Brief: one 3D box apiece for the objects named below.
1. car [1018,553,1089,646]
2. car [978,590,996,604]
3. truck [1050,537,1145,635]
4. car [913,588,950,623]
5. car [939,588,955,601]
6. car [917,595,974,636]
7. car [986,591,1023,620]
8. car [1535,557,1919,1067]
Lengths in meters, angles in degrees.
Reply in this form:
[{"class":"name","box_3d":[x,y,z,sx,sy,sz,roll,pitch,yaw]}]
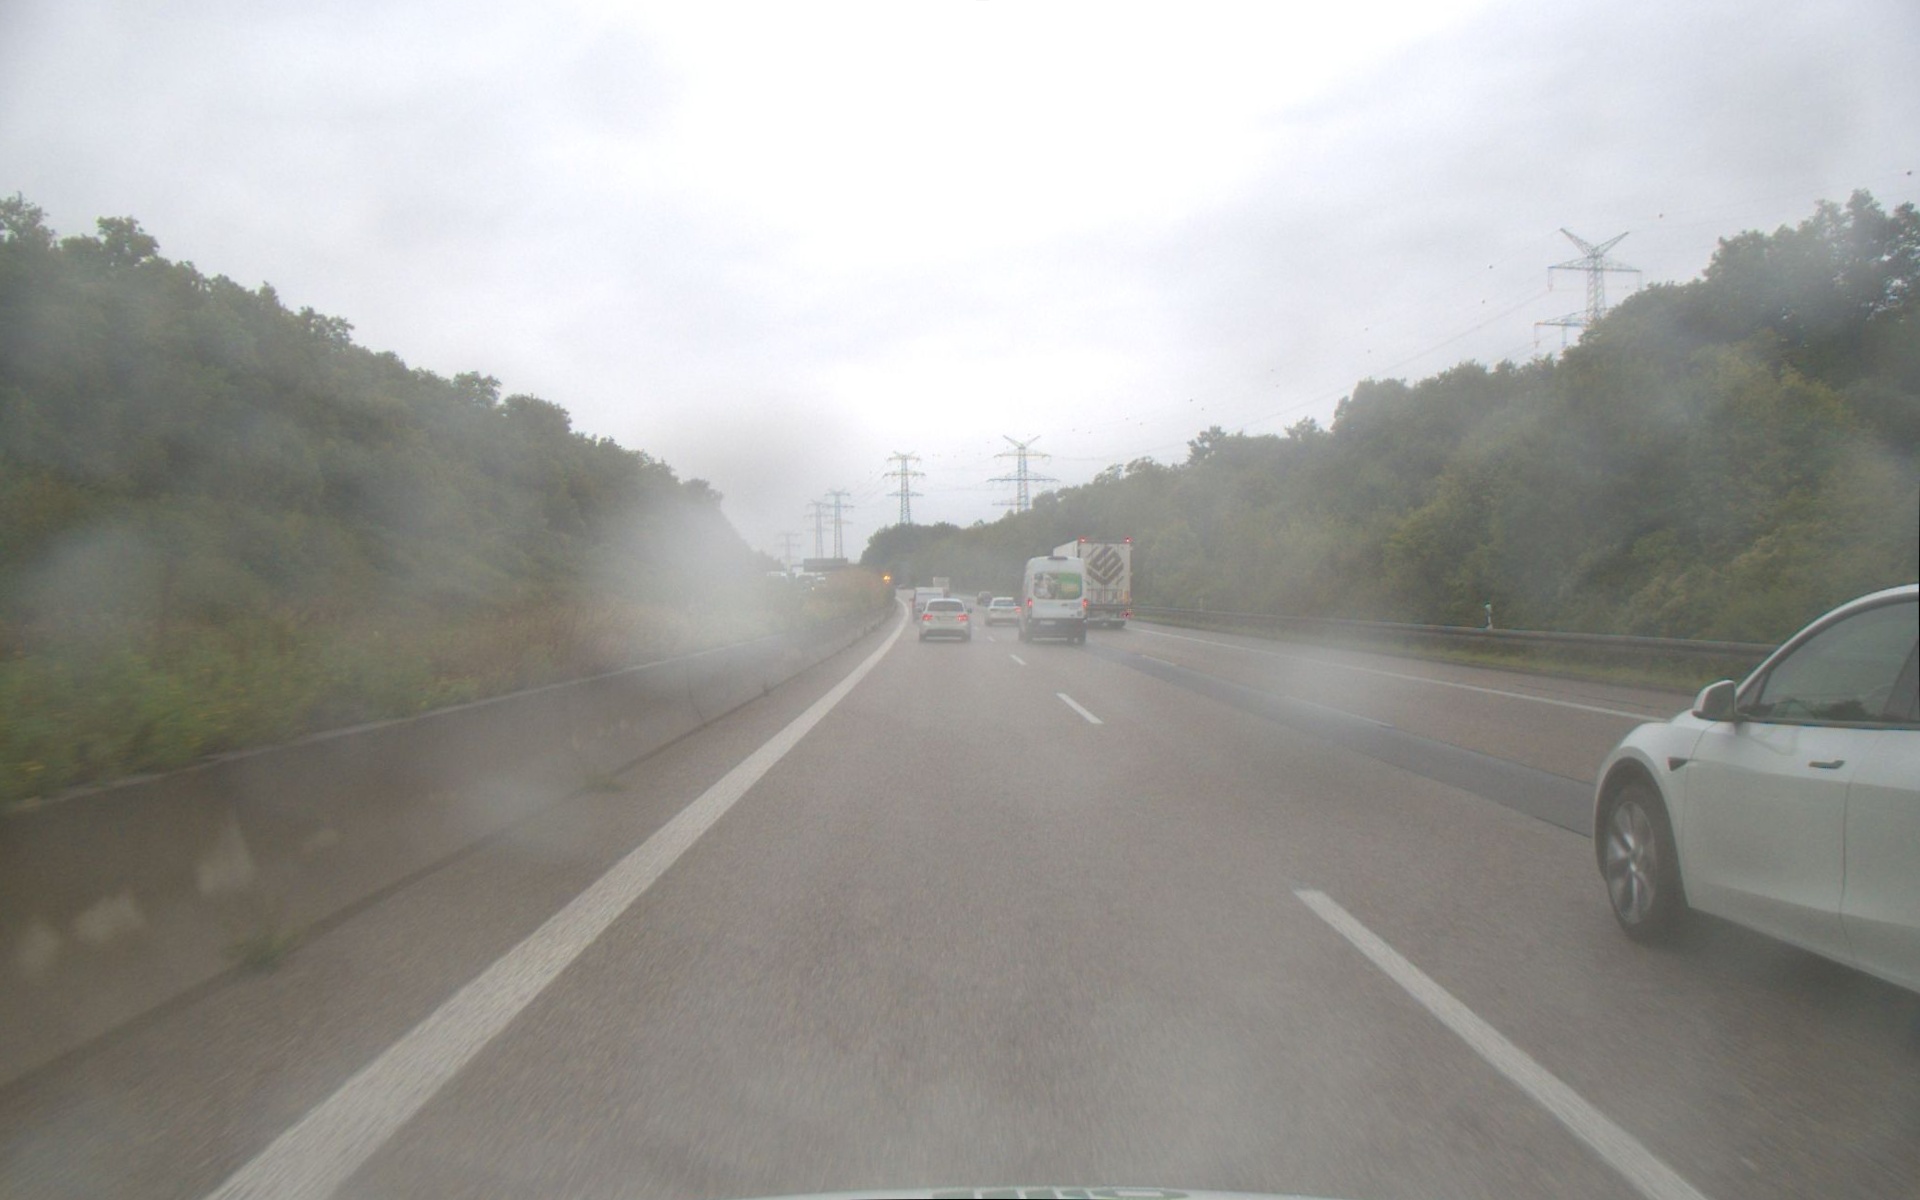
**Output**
[{"class":"car","box_3d":[3.041,-0.030,54.676,1.953,2.914,3.999,-1,0,-2]},{"class":"car","box_3d":[2.988,-0.334,182.649,1.953,1.512,4.000,-3,0,0]},{"class":"truck","box_3d":[6.640,-0.622,82.028,3.529,4.408,13.198,-1,0,0]},{"class":"car","box_3d":[-1.507,0.263,88.040,1.808,1.803,4.000,-1,0,1]},{"class":"car","box_3d":[-1.752,-0.728,218.569,1.952,1.601,4.000,-2,-1,1]},{"class":"car","box_3d":[-0.449,0.503,56.037,1.828,1.310,4.000,-1,0,1]},{"class":"car","box_3d":[2.234,0.258,83.198,1.818,1.447,4.001,0,0,2]},{"class":"car","box_3d":[3.906,0.665,6.067,1.822,1.595,4.963,0,0,-1]}]
